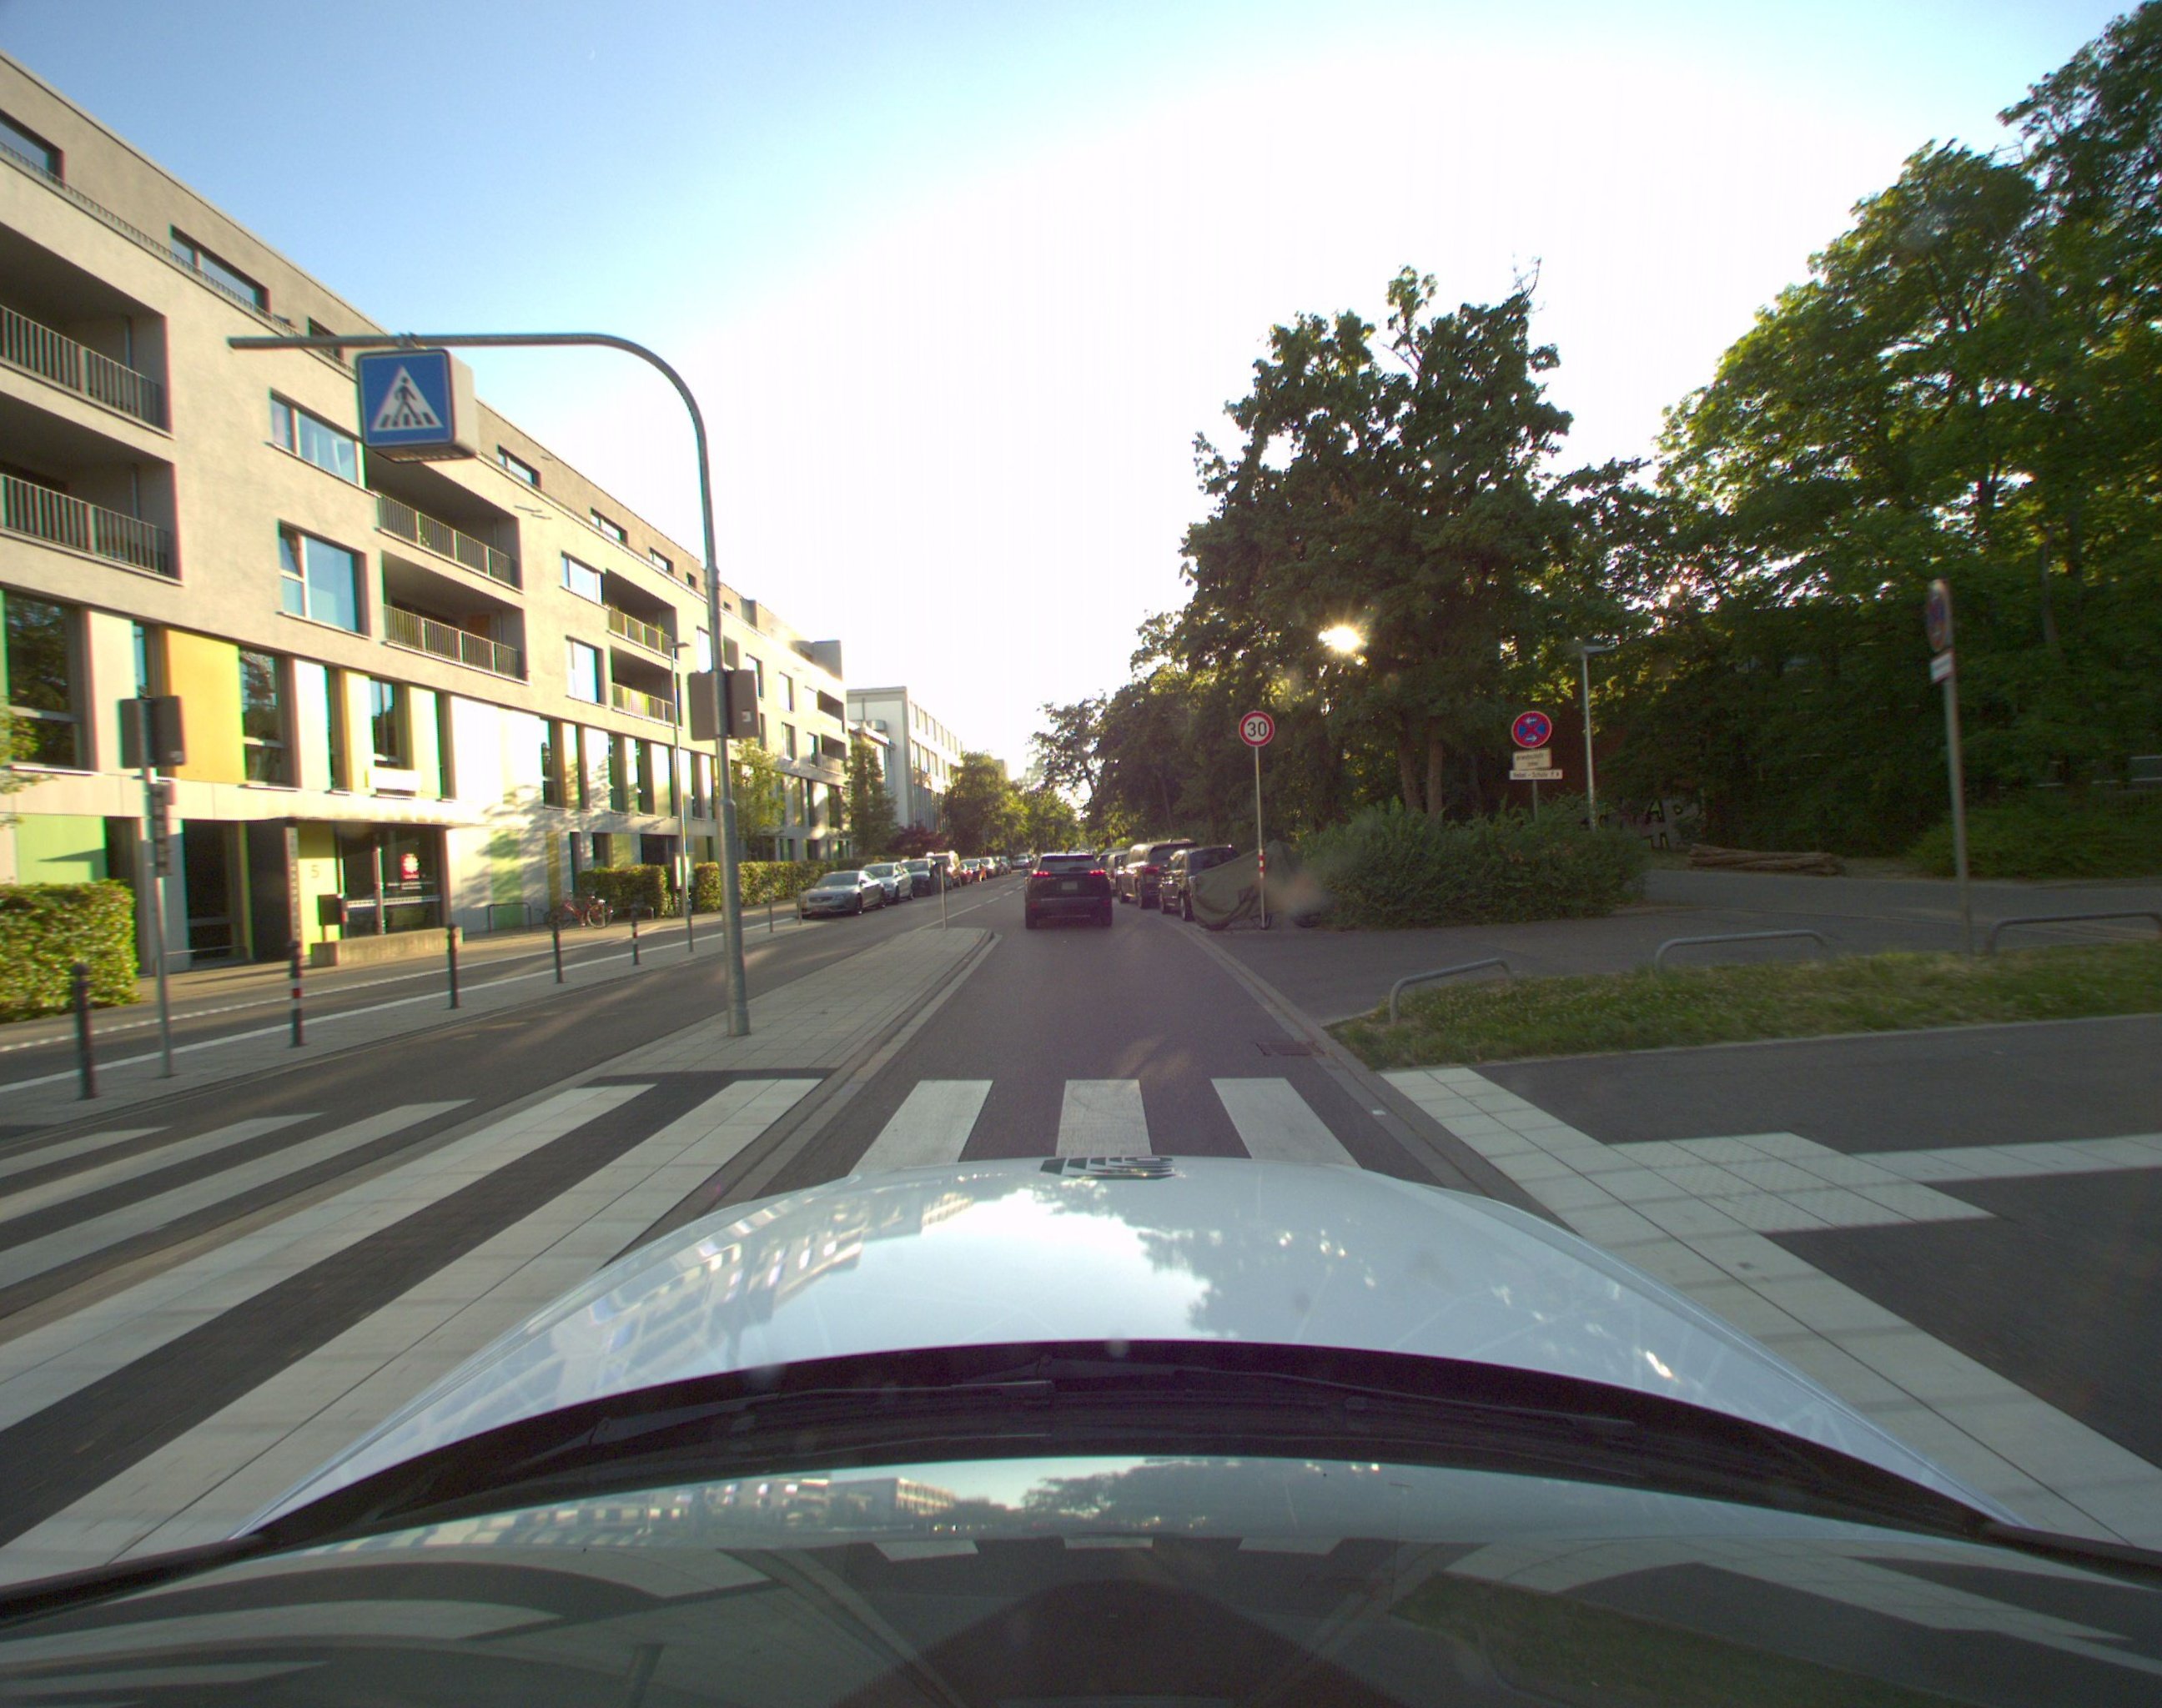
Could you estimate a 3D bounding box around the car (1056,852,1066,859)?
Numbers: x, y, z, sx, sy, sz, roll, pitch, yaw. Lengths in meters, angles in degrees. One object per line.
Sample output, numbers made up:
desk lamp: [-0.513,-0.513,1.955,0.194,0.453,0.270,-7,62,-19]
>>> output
car: [-4.297,0.282,173.954,1.807,1.354,3.995,-4,0,-4]

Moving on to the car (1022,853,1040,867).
car: [-5.901,0.746,97.001,1.673,1.457,3.883,-4,1,2]

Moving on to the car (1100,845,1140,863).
car: [4.265,-0.029,88.786,4.150,1.710,1.870,-3,0,5]

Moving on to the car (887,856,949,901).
car: [-7.264,1.042,36.706,1.736,1.676,4.416,-4,1,0]

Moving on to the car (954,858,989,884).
car: [-6.937,1.065,51.801,1.593,1.455,3.861,-4,0,0]

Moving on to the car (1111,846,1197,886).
car: [3.187,0.502,35.911,3.614,1.540,1.672,-3,1,1]

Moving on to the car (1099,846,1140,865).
car: [3.987,0.116,84.049,4.108,1.667,1.723,-3,0,1]

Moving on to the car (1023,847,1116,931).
car: [-0.301,0.674,17.528,1.764,1.568,3.377,-2,0,-3]

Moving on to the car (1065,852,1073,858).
car: [-3.190,0.282,214.040,1.806,1.354,3.975,-4,0,-3]

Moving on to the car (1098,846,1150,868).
car: [3.744,0.263,70.740,4.322,1.475,1.743,-6,1,1]

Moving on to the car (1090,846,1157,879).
car: [2.436,0.479,47.226,3.656,1.444,1.734,-6,1,-1]

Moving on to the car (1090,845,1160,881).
car: [2.395,0.473,44.845,3.600,1.525,1.671,-6,0,-1]

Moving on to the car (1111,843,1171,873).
car: [3.835,0.231,52.556,3.712,1.498,1.820,-6,-1,1]

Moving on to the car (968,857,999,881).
car: [-6.898,1.011,57.947,1.593,1.455,4.055,-4,1,0]

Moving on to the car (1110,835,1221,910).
car: [2.209,0.474,22.633,1.921,1.748,4.653,-4,0,-8]

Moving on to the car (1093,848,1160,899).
car: [1.519,0.638,28.635,1.648,1.567,4.293,-4,0,-5]

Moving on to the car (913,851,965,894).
car: [-7.297,0.904,42.152,1.802,1.889,4.238,-4,1,0]

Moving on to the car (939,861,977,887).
car: [-7.098,1.136,47.413,1.551,1.280,3.733,-4,1,0]

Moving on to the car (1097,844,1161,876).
car: [2.926,0.357,49.902,3.656,1.552,1.734,-6,0,-1]

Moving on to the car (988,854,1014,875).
car: [-6.581,0.840,67.386,1.595,1.493,3.774,-4,1,2]

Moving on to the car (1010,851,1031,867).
car: [-6.257,0.477,84.485,1.664,1.493,4.063,-4,0,2]

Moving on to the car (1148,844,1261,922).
car: [2.647,0.590,18.228,1.618,1.486,3.412,-4,0,-6]

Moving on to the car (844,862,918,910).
car: [-7.556,1.153,31.161,1.737,1.533,4.114,-4,0,-1]

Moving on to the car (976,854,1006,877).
car: [-6.896,0.871,62.606,1.592,1.507,3.790,-4,1,3]

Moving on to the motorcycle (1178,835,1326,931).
motorcycle: [3.020,0.520,14.440,2.269,1.545,1.046,-4,0,30]

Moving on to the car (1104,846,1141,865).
car: [4.133,0.133,81.567,3.577,1.566,1.818,-5,-1,0]

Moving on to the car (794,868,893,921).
car: [-7.485,1.221,26.122,1.736,1.356,4.397,-4,0,1]

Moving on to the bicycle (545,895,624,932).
bicycle: [-13.667,1.629,22.457,1.746,0.918,0.617,-2,0,-1]
